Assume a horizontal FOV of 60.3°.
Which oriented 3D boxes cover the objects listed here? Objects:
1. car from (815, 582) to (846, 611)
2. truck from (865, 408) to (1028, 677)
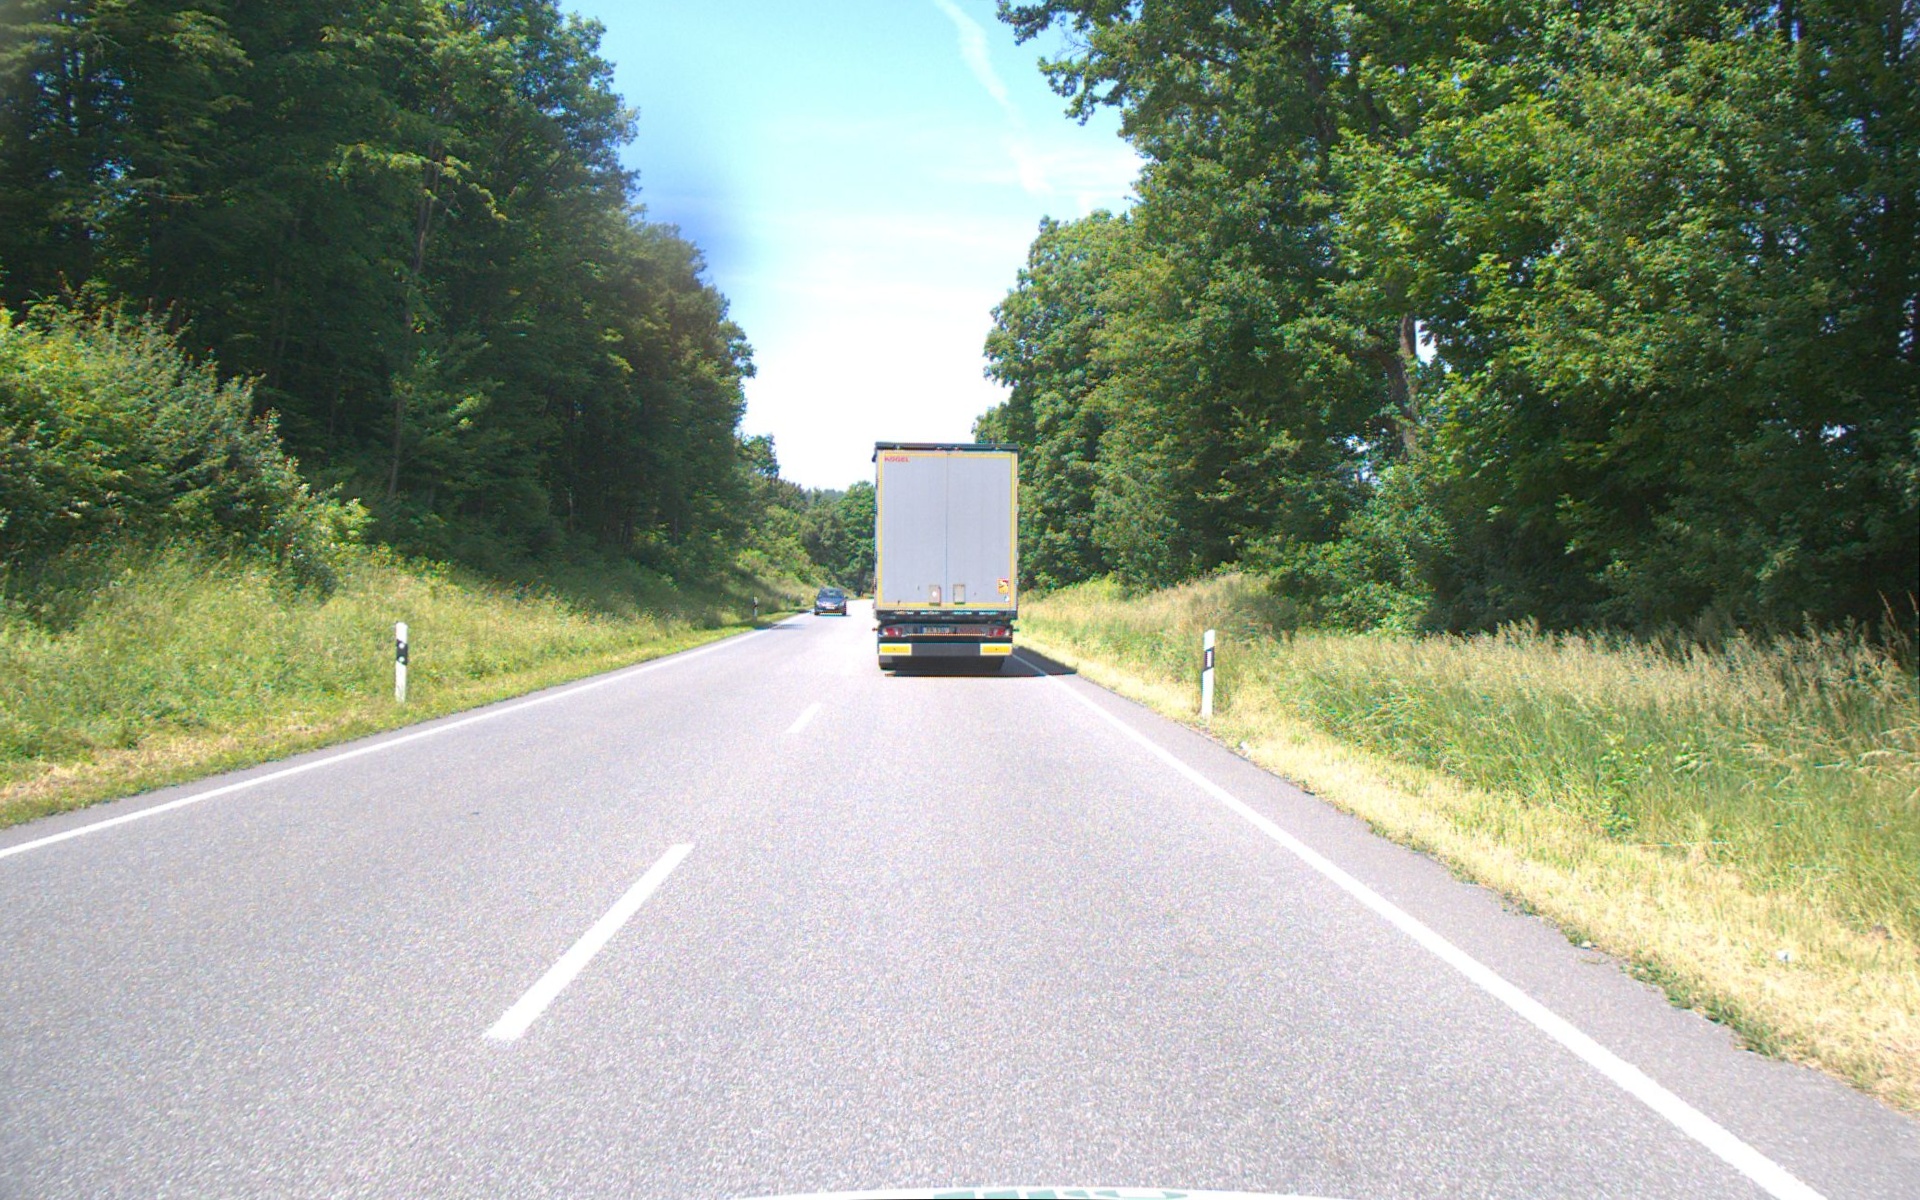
[{"bbox_3d":[-7.344,-0.191,93.860,1.737,1.597,4.214,1,0,-4],"label":"car"},{"bbox_3d":[-0.515,-1.021,34.389,2.761,4.612,11.761,1,0,-3],"label":"truck"}]
